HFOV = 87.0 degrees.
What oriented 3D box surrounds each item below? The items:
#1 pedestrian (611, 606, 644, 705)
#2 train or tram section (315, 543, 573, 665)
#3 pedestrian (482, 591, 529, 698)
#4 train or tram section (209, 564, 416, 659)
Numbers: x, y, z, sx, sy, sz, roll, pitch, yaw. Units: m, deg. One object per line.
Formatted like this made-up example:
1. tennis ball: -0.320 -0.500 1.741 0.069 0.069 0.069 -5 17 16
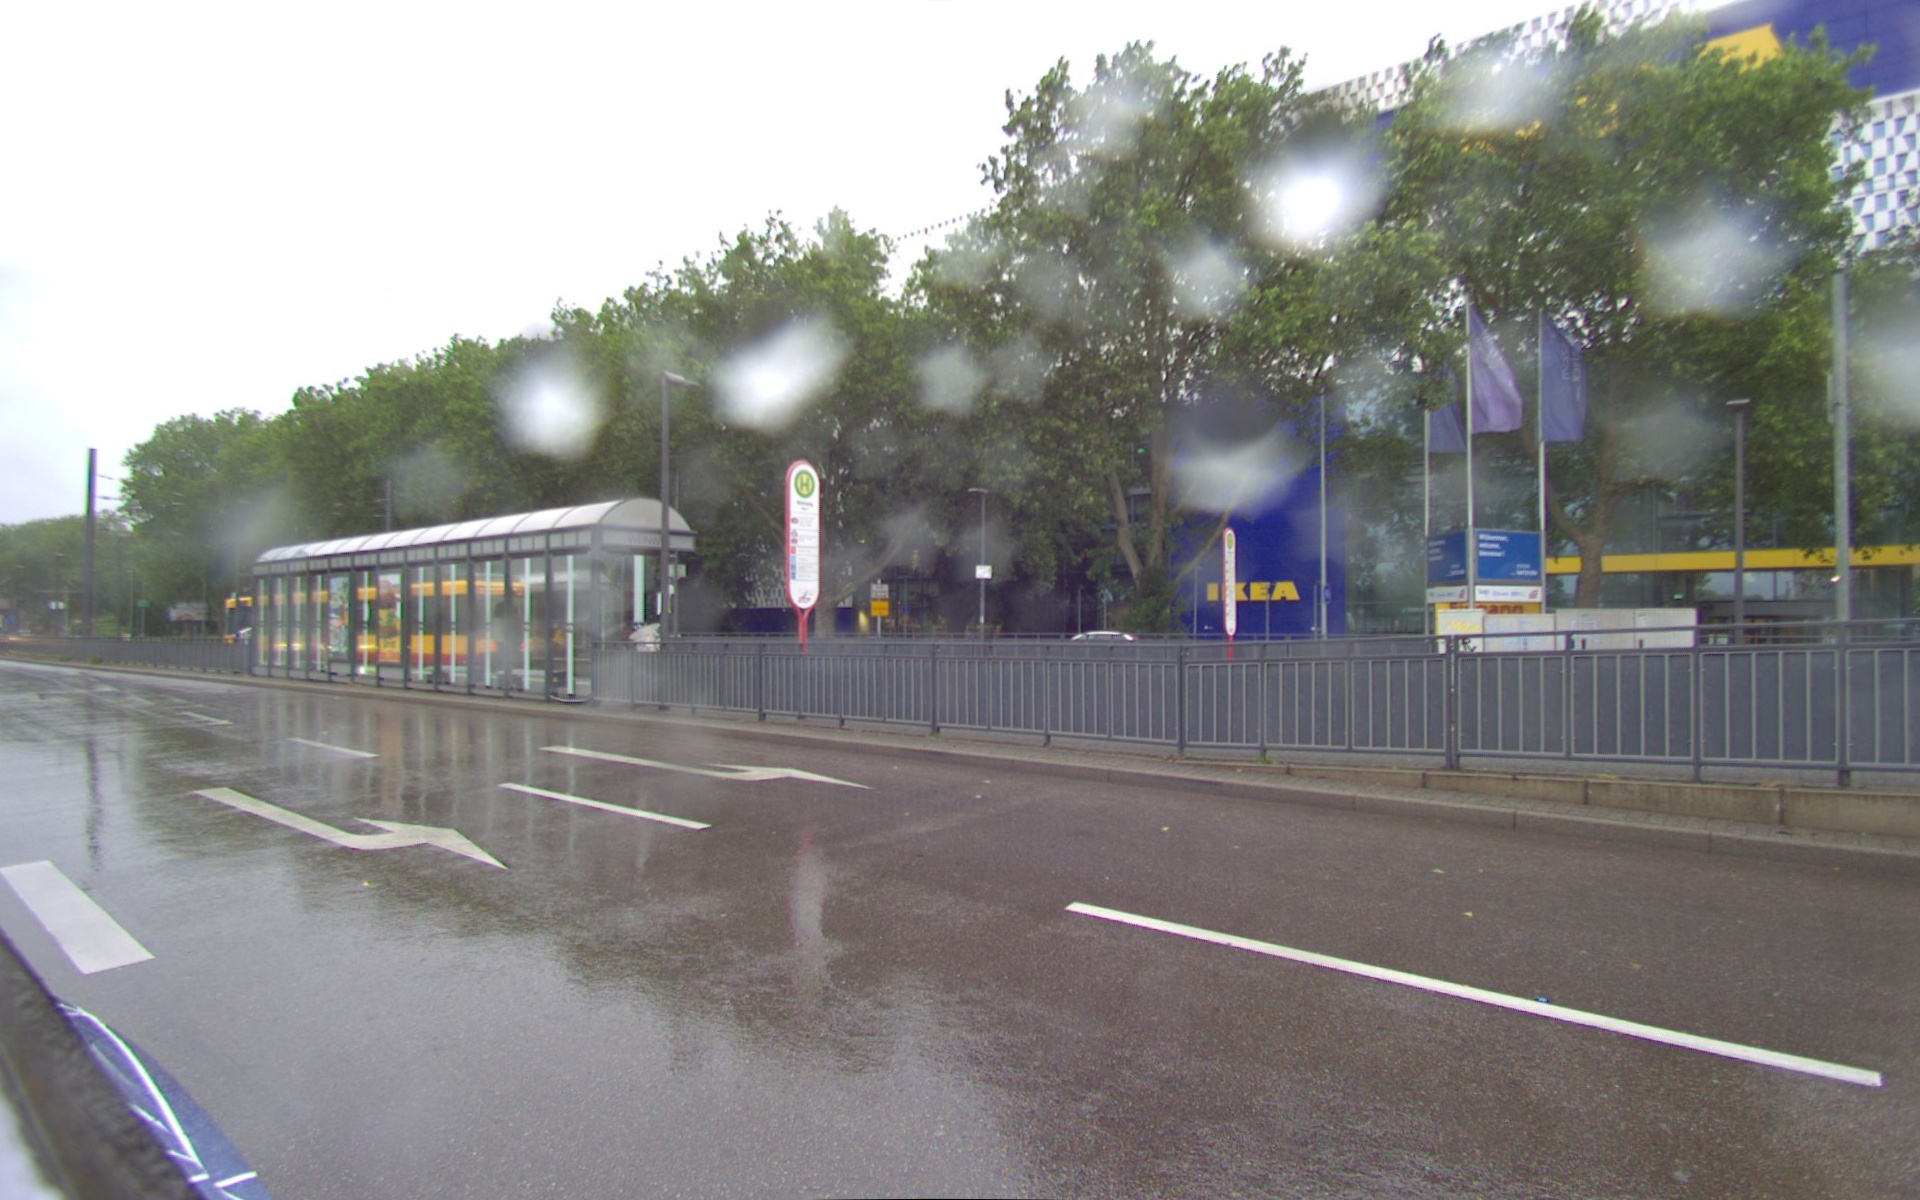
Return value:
1. pedestrian: -5.138 0.847 15.637 0.317 1.504 0.416 -2 1 -44
2. train or tram section: -19.548 0.186 37.620 13.245 3.868 3.703 -1 0 40
3. pedestrian: -8.304 0.790 18.483 0.646 1.885 0.774 -1 0 -33
4. train or tram section: -30.477 0.539 47.024 15.560 3.827 3.703 -1 0 40
